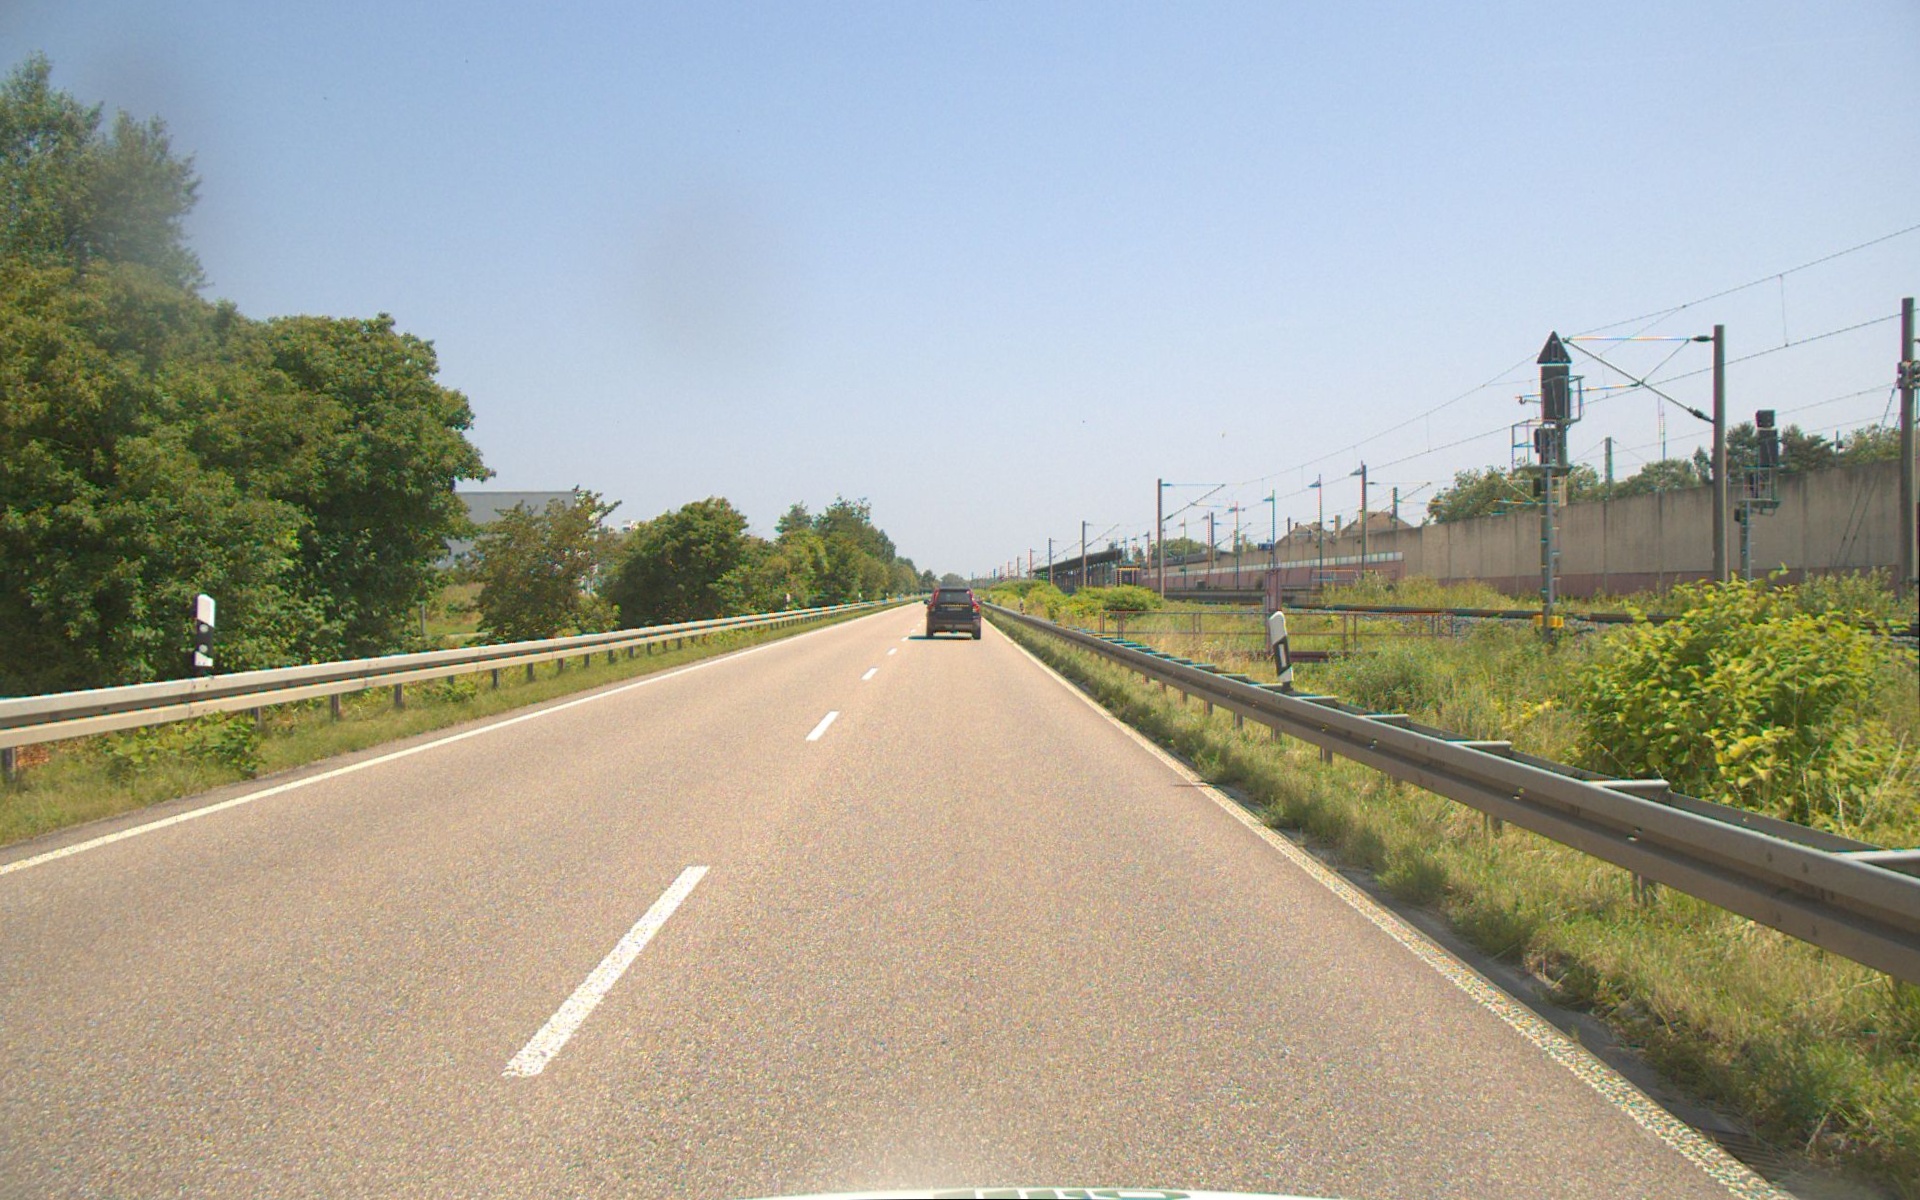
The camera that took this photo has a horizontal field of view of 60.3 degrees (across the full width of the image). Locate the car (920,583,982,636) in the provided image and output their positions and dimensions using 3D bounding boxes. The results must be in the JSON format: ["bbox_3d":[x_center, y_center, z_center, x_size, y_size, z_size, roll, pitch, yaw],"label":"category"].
[{"bbox_3d":[-0.355,0.308,56.331,1.954,1.730,3.998,0,0,-3],"label":"car"}]
